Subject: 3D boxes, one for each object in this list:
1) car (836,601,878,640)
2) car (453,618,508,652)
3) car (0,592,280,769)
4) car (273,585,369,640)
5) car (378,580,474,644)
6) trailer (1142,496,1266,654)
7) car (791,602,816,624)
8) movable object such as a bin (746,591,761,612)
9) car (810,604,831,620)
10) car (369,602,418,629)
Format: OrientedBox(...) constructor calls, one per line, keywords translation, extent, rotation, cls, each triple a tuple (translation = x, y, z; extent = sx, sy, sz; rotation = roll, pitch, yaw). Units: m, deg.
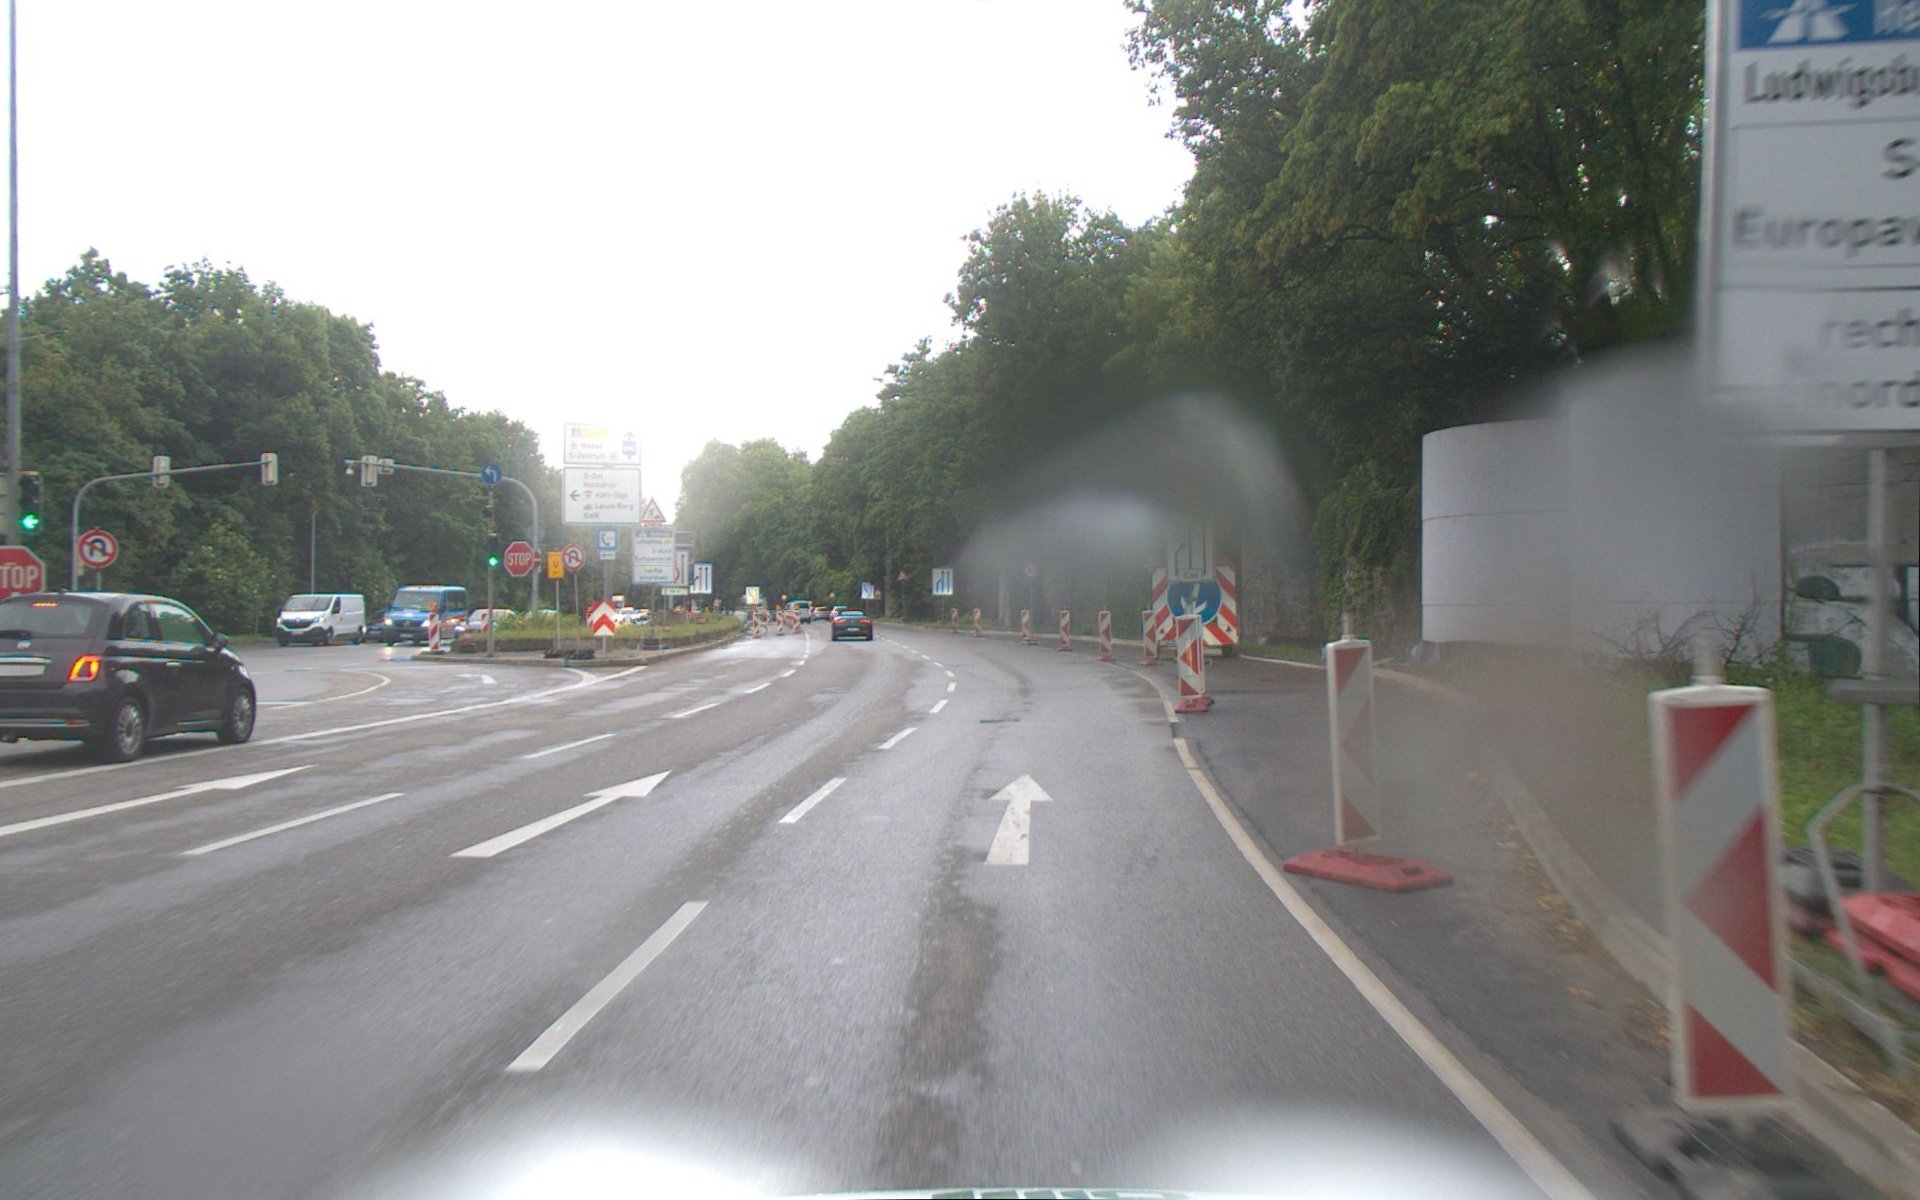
OrientedBox(translation=(-4.584, 0.897, 73.966), extent=(1.825, 1.517, 3.999), rotation=(0, 2, -3), cls="car")
OrientedBox(translation=(-18.413, 1.307, 63.634), extent=(1.520, 1.221, 4.635), rotation=(0, 0, -10), cls="car")
OrientedBox(translation=(-7.905, 0.670, 15.521), extent=(1.554, 1.466, 3.504), rotation=(0, 0, 1), cls="car")
OrientedBox(translation=(-24.393, 0.439, 63.350), extent=(1.994, 2.009, 4.987), rotation=(0, 1, -3), cls="car")
OrientedBox(translation=(-21.387, 0.410, 66.530), extent=(2.151, 2.432, 6.240), rotation=(0, 1, -3), cls="car")
OrientedBox(translation=(6.083, -0.575, 41.954), extent=(2.260, 3.652, 5.960), rotation=(-2, 0, 1), cls="trailer")
OrientedBox(translation=(-9.710, 0.793, 102.857), extent=(1.361, 1.255, 3.082), rotation=(1, 0, -2), cls="car")
OrientedBox(translation=(-29.203, 0.171, 233.649), extent=(1.716, 2.917, 3.523), rotation=(-2, 0, -13), cls="movable object such as a bin")
OrientedBox(translation=(-14.913, 1.318, 177.029), extent=(1.828, 1.517, 3.991), rotation=(0, 2, -11), cls="car")
OrientedBox(translation=(-24.241, 0.656, 70.832), extent=(1.245, 1.104, 2.791), rotation=(0, 1, -3), cls="car")
